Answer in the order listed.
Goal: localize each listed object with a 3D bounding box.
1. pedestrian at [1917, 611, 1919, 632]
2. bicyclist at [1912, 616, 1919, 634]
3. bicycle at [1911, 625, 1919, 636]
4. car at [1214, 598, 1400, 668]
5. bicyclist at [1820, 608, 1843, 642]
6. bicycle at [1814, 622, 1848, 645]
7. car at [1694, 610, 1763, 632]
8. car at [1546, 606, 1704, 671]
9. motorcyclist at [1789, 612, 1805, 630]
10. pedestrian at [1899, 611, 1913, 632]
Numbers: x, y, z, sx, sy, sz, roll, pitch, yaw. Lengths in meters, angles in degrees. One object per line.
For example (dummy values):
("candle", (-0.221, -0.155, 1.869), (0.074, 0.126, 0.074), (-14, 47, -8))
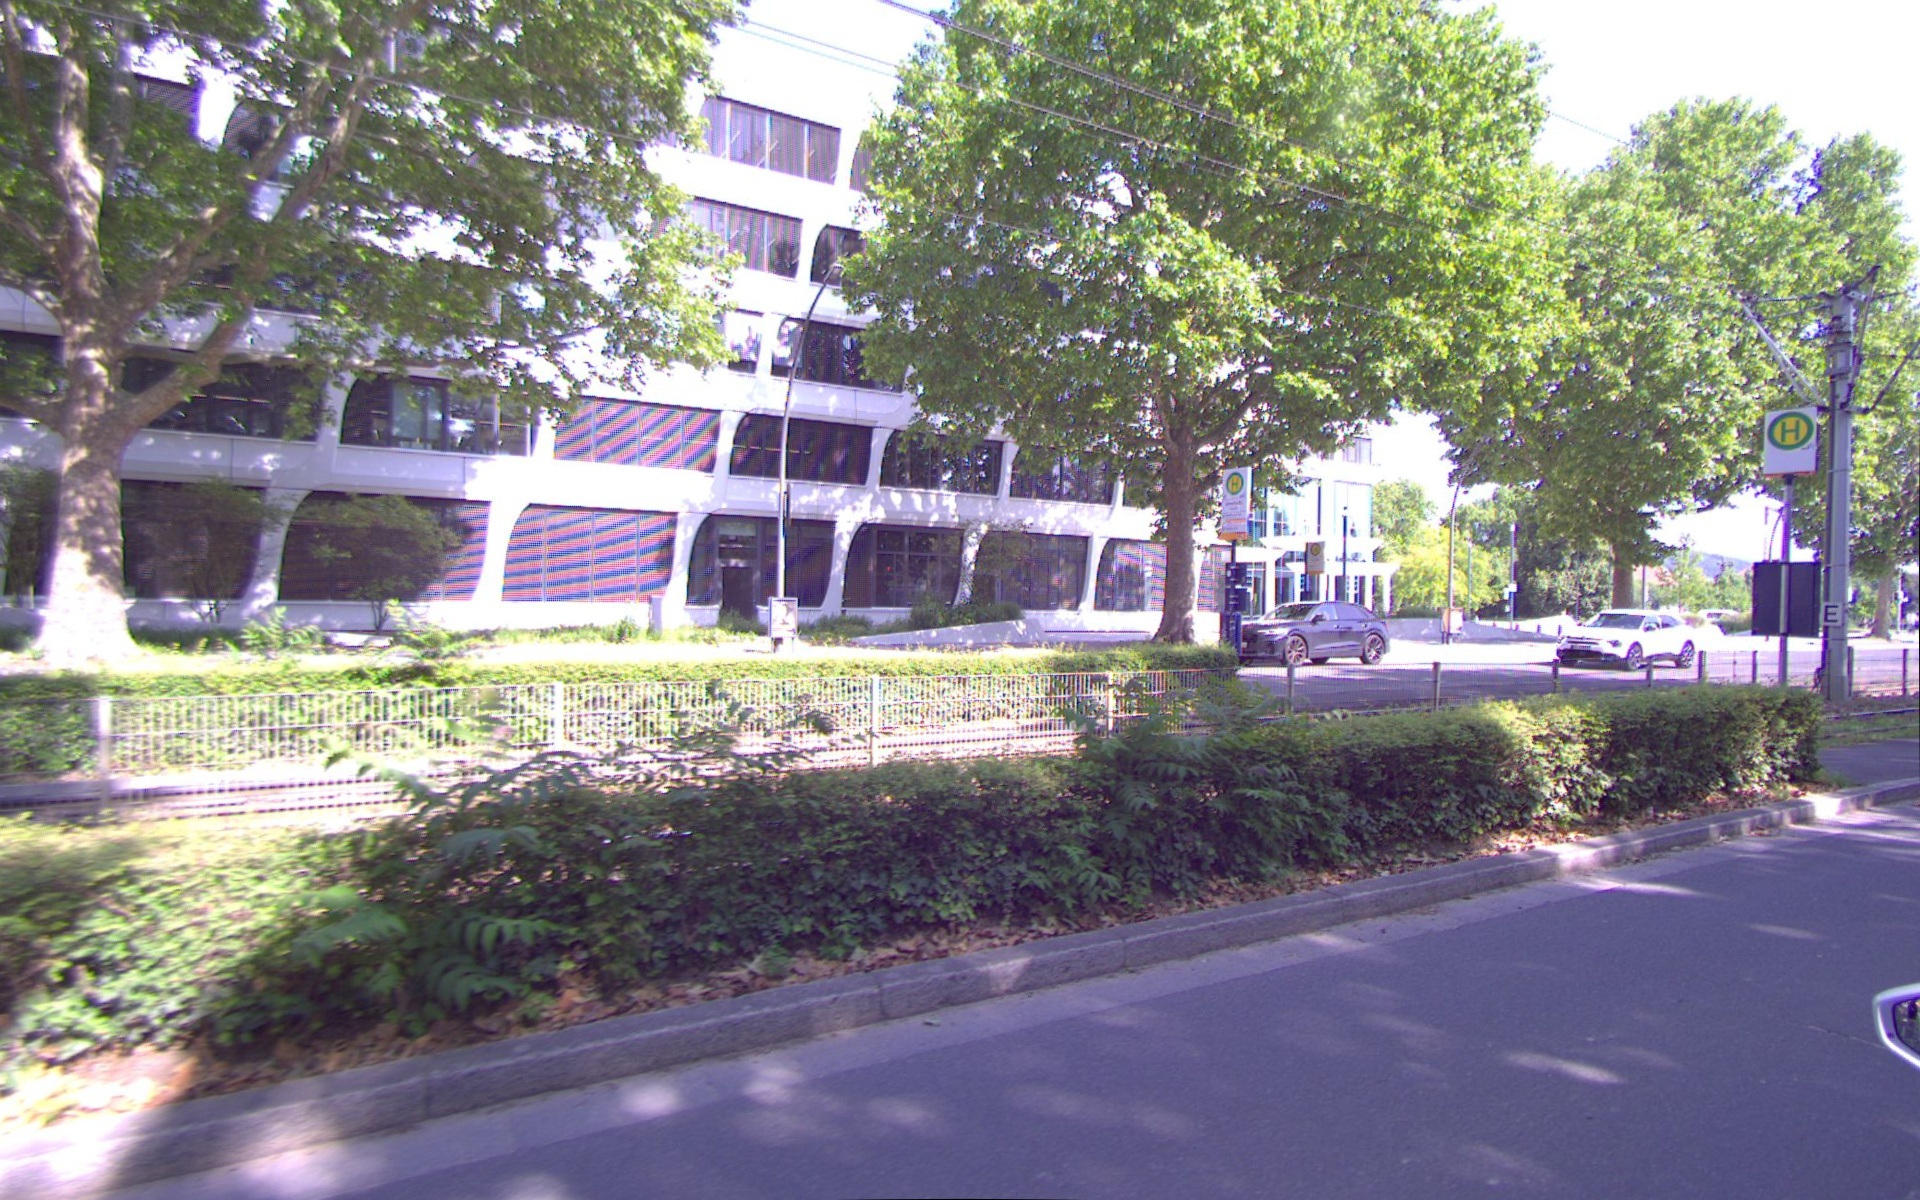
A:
("pedestrian", (70.971, 1.578, 73.900), (0.773, 1.562, 0.619), (1, 0, -30))
("bicyclist", (67.848, 1.771, 71.209), (0.461, 1.329, 0.382), (1, 1, -36))
("bicycle", (67.888, 2.183, 71.244), (1.135, 0.758, 0.417), (1, 0, -38))
("car", (9.034, 0.821, 26.036), (4.837, 1.646, 1.821), (1, 0, -30))
("bicyclist", (42.644, 1.223, 49.161), (0.828, 1.625, 0.572), (1, 1, -29))
("bicycle", (42.616, 1.621, 49.141), (1.861, 1.109, 0.664), (1, 0, -29))
("car", (59.060, 1.585, 77.273), (1.747, 1.569, 3.831), (1, 0, -28))
("car", (17.853, 0.998, 26.924), (4.253, 1.584, 1.802), (1, 0, -30))
("motorcyclist", (62.361, 1.585, 74.870), (0.596, 1.332, 0.750), (1, 0, -29))
("pedestrian", (70.433, 1.579, 74.798), (0.637, 1.562, 0.619), (1, 0, -30))
